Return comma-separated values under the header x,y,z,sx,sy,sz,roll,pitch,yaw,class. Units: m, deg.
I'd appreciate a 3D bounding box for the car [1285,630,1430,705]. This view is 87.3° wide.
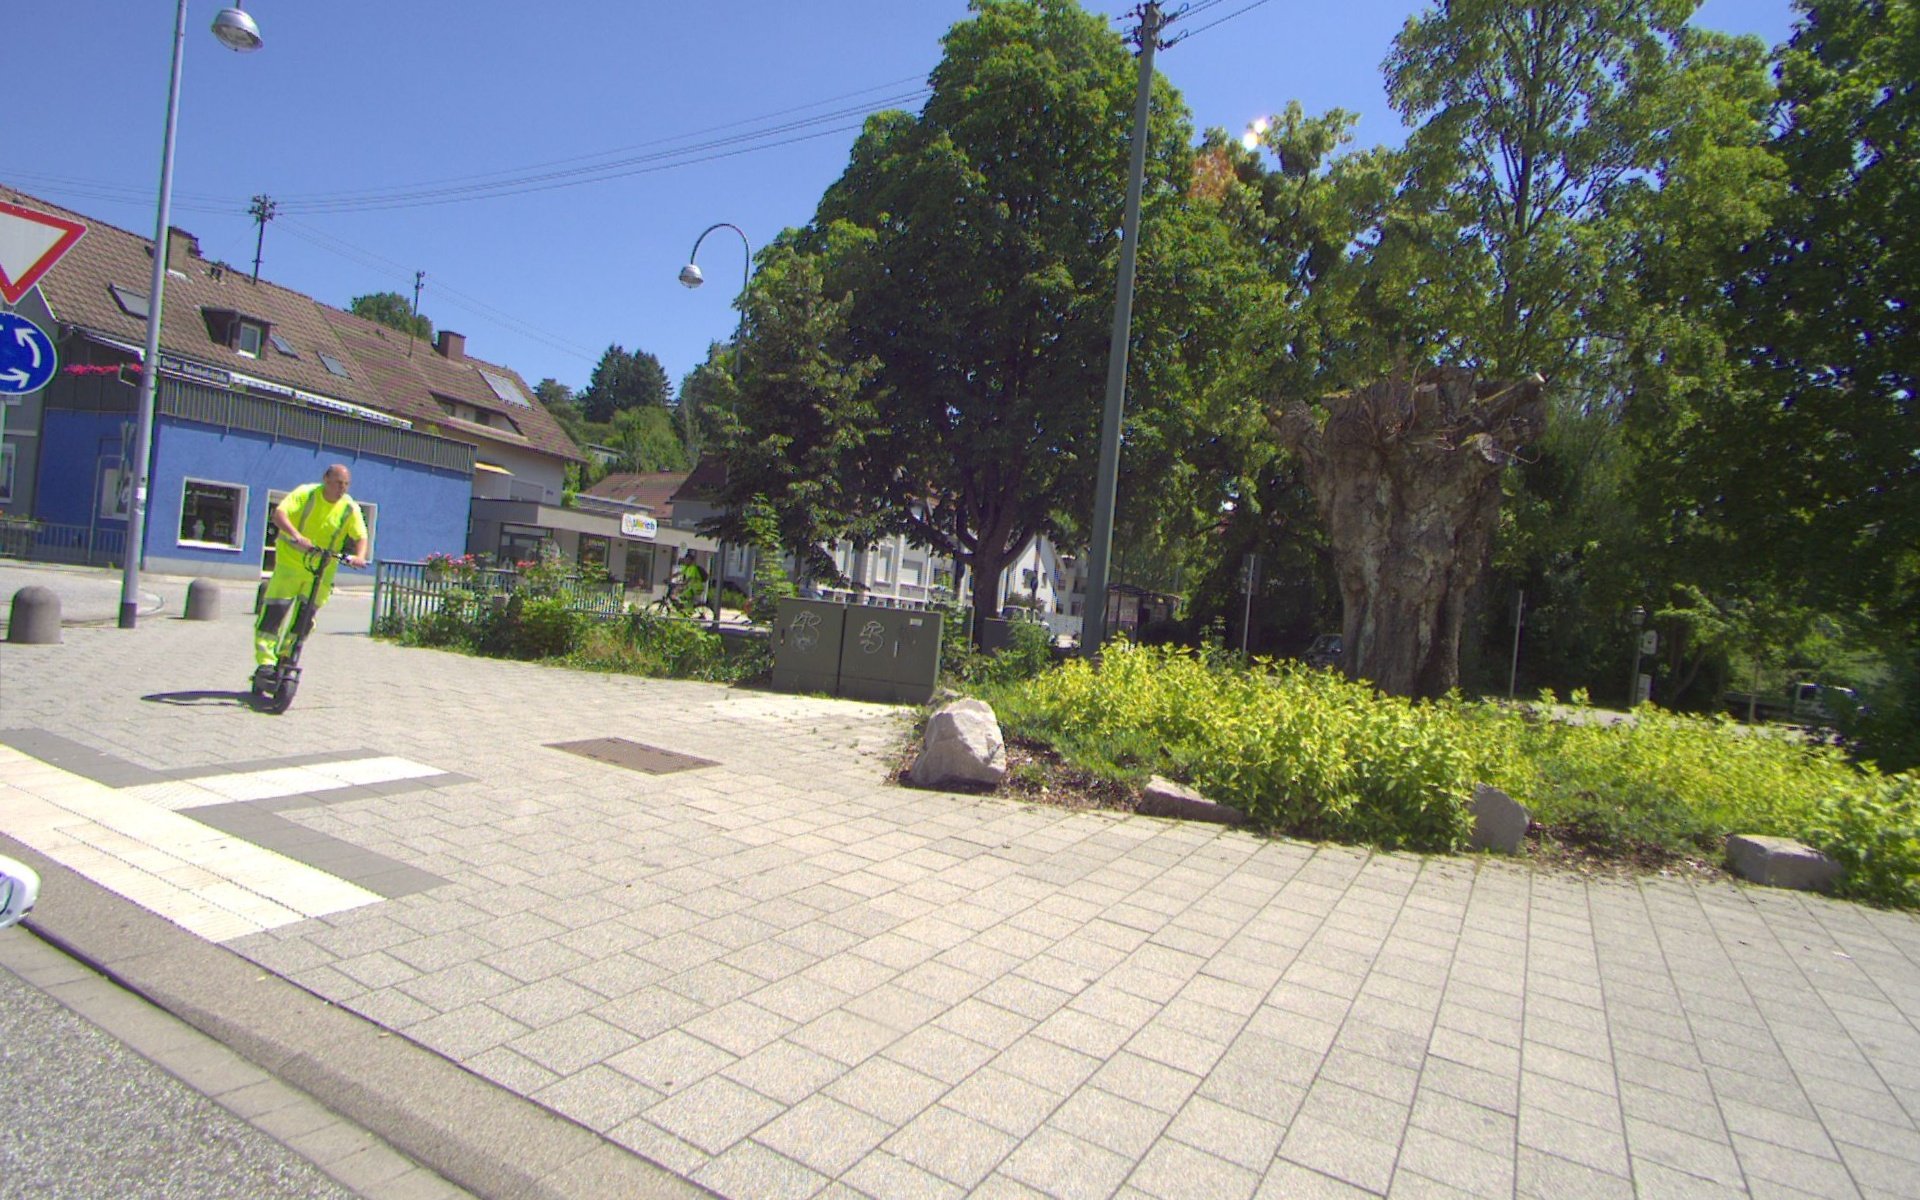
x,y,z,sx,sy,sz,roll,pitch,yaw,class
10.013,1.660,25.664,1.644,1.472,3.756,5,0,-9,car

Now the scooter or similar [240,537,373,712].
x,y,z,sx,sy,sz,roll,pitch,yaw,class
-5.135,0.167,7.878,1.224,1.238,0.527,6,1,43,scooter or similar

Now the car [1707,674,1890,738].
x,y,z,sx,sy,sz,roll,pitch,yaw,class
42.652,5.355,51.418,2.168,2.267,6.716,5,0,-29,car

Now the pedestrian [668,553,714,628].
x,y,z,sx,sy,sz,roll,pitch,yaw,class
-6.336,-0.227,23.673,0.711,1.652,0.740,5,1,-36,pedestrian

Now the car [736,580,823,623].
x,y,z,sx,sy,sz,roll,pitch,yaw,class
-7.868,0.094,44.198,1.747,1.571,3.672,5,-1,29,car

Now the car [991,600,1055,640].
x,y,z,sx,sy,sz,roll,pitch,yaw,class
3.522,1.141,55.594,1.733,1.898,4.222,6,0,29,car

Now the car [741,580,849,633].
x,y,z,sx,sy,sz,roll,pitch,yaw,class
-6.073,0.284,37.580,1.779,1.566,4.258,7,0,25,car

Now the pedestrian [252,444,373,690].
x,y,z,sx,sy,sz,roll,pitch,yaw,class
-5.118,-0.248,7.959,0.673,1.824,0.732,4,3,-34,pedestrian

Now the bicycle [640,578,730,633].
x,y,z,sx,sy,sz,roll,pitch,yaw,class
-6.448,0.129,23.627,1.832,1.097,0.740,6,0,-36,bicycle
